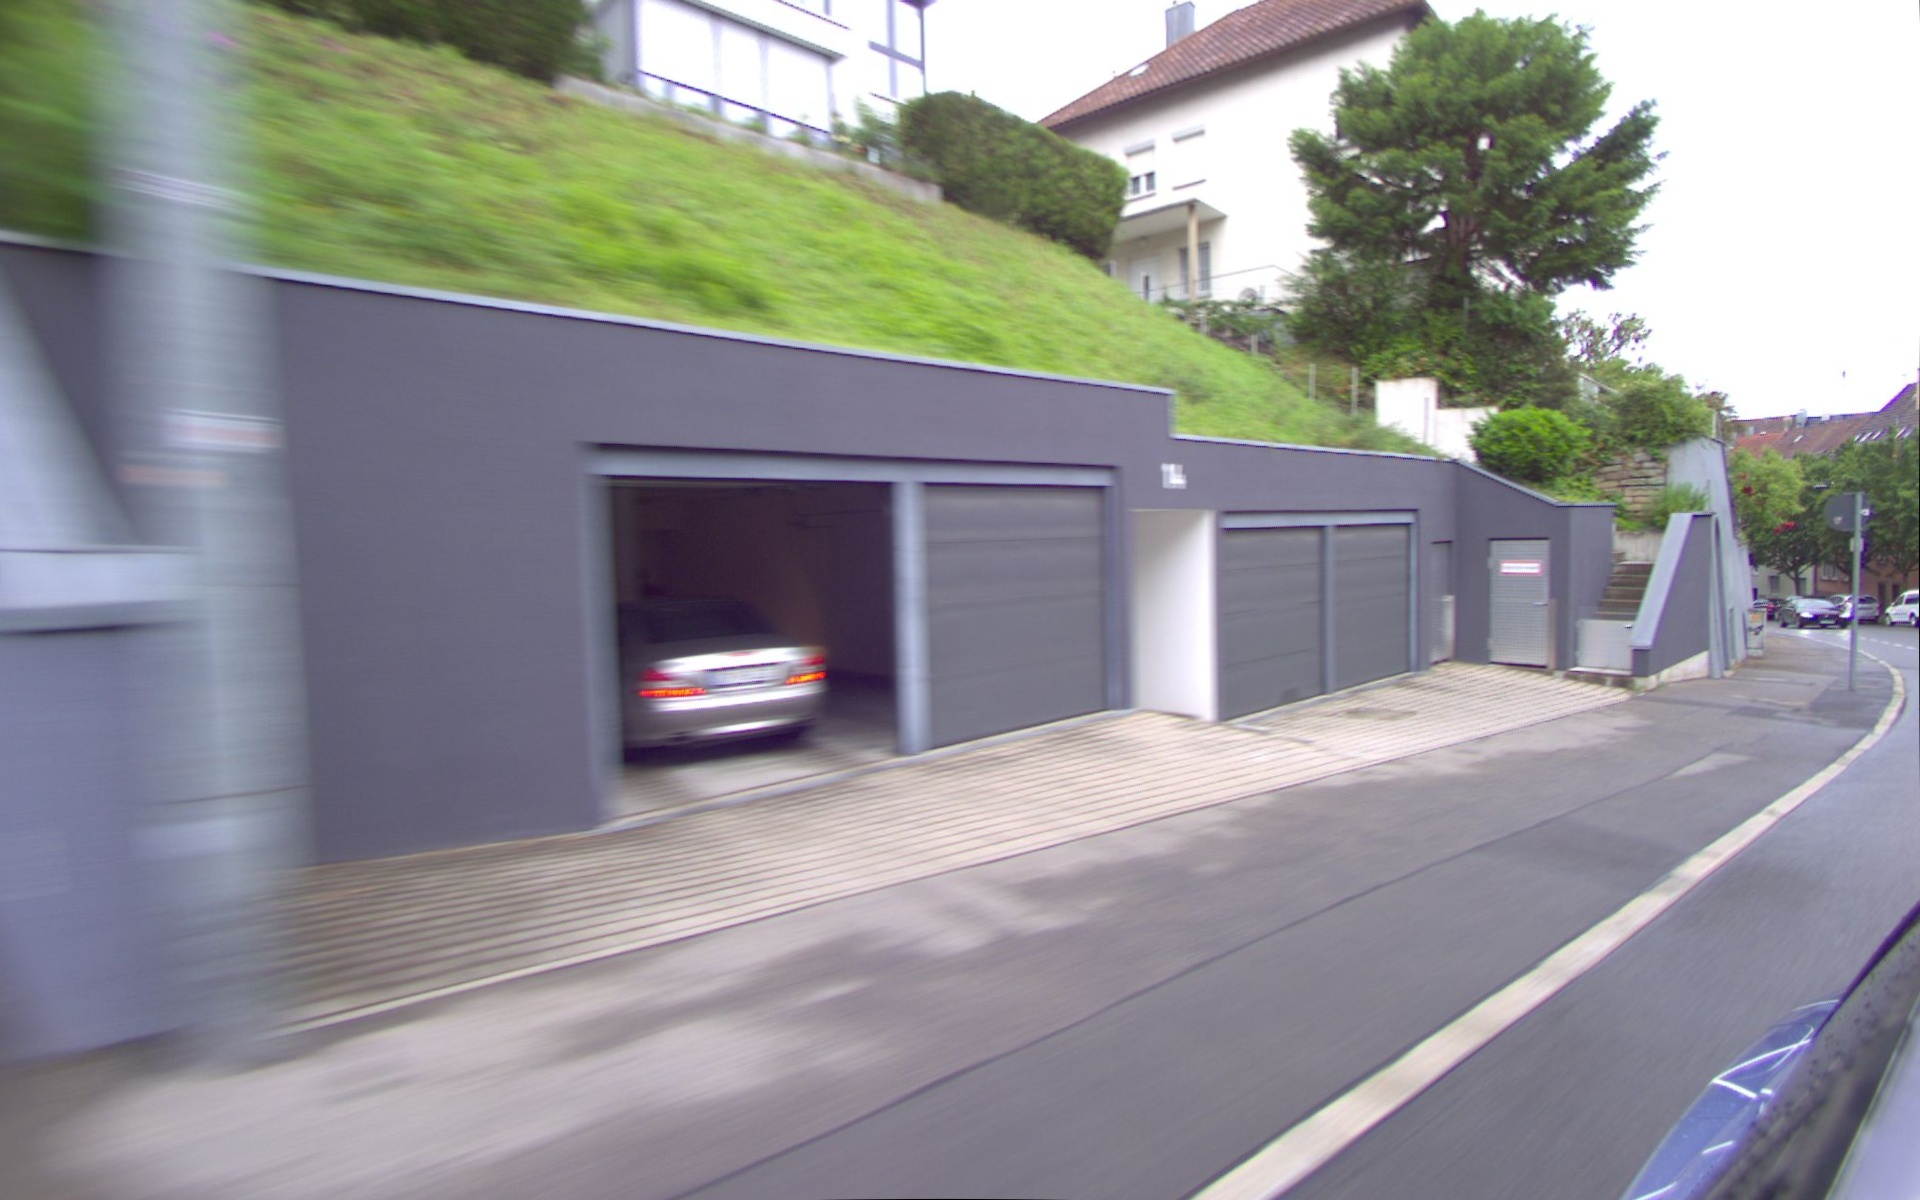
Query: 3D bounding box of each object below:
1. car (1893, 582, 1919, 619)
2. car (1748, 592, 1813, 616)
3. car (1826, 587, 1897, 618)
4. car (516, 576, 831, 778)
[{"bbox_3d":[47.779,-0.004,49.501,1.841,1.799,4.442,-1,0,26],"label":"car"},{"bbox_3d":[54.931,0.254,67.883,1.768,1.512,4.339,-1,0,16],"label":"car"},{"bbox_3d":[51.181,0.131,57.552,1.734,1.712,4.560,-1,0,25],"label":"car"},{"bbox_3d":[-2.850,0.623,9.502,1.625,1.438,3.692,-3,0,-36],"label":"car"}]
